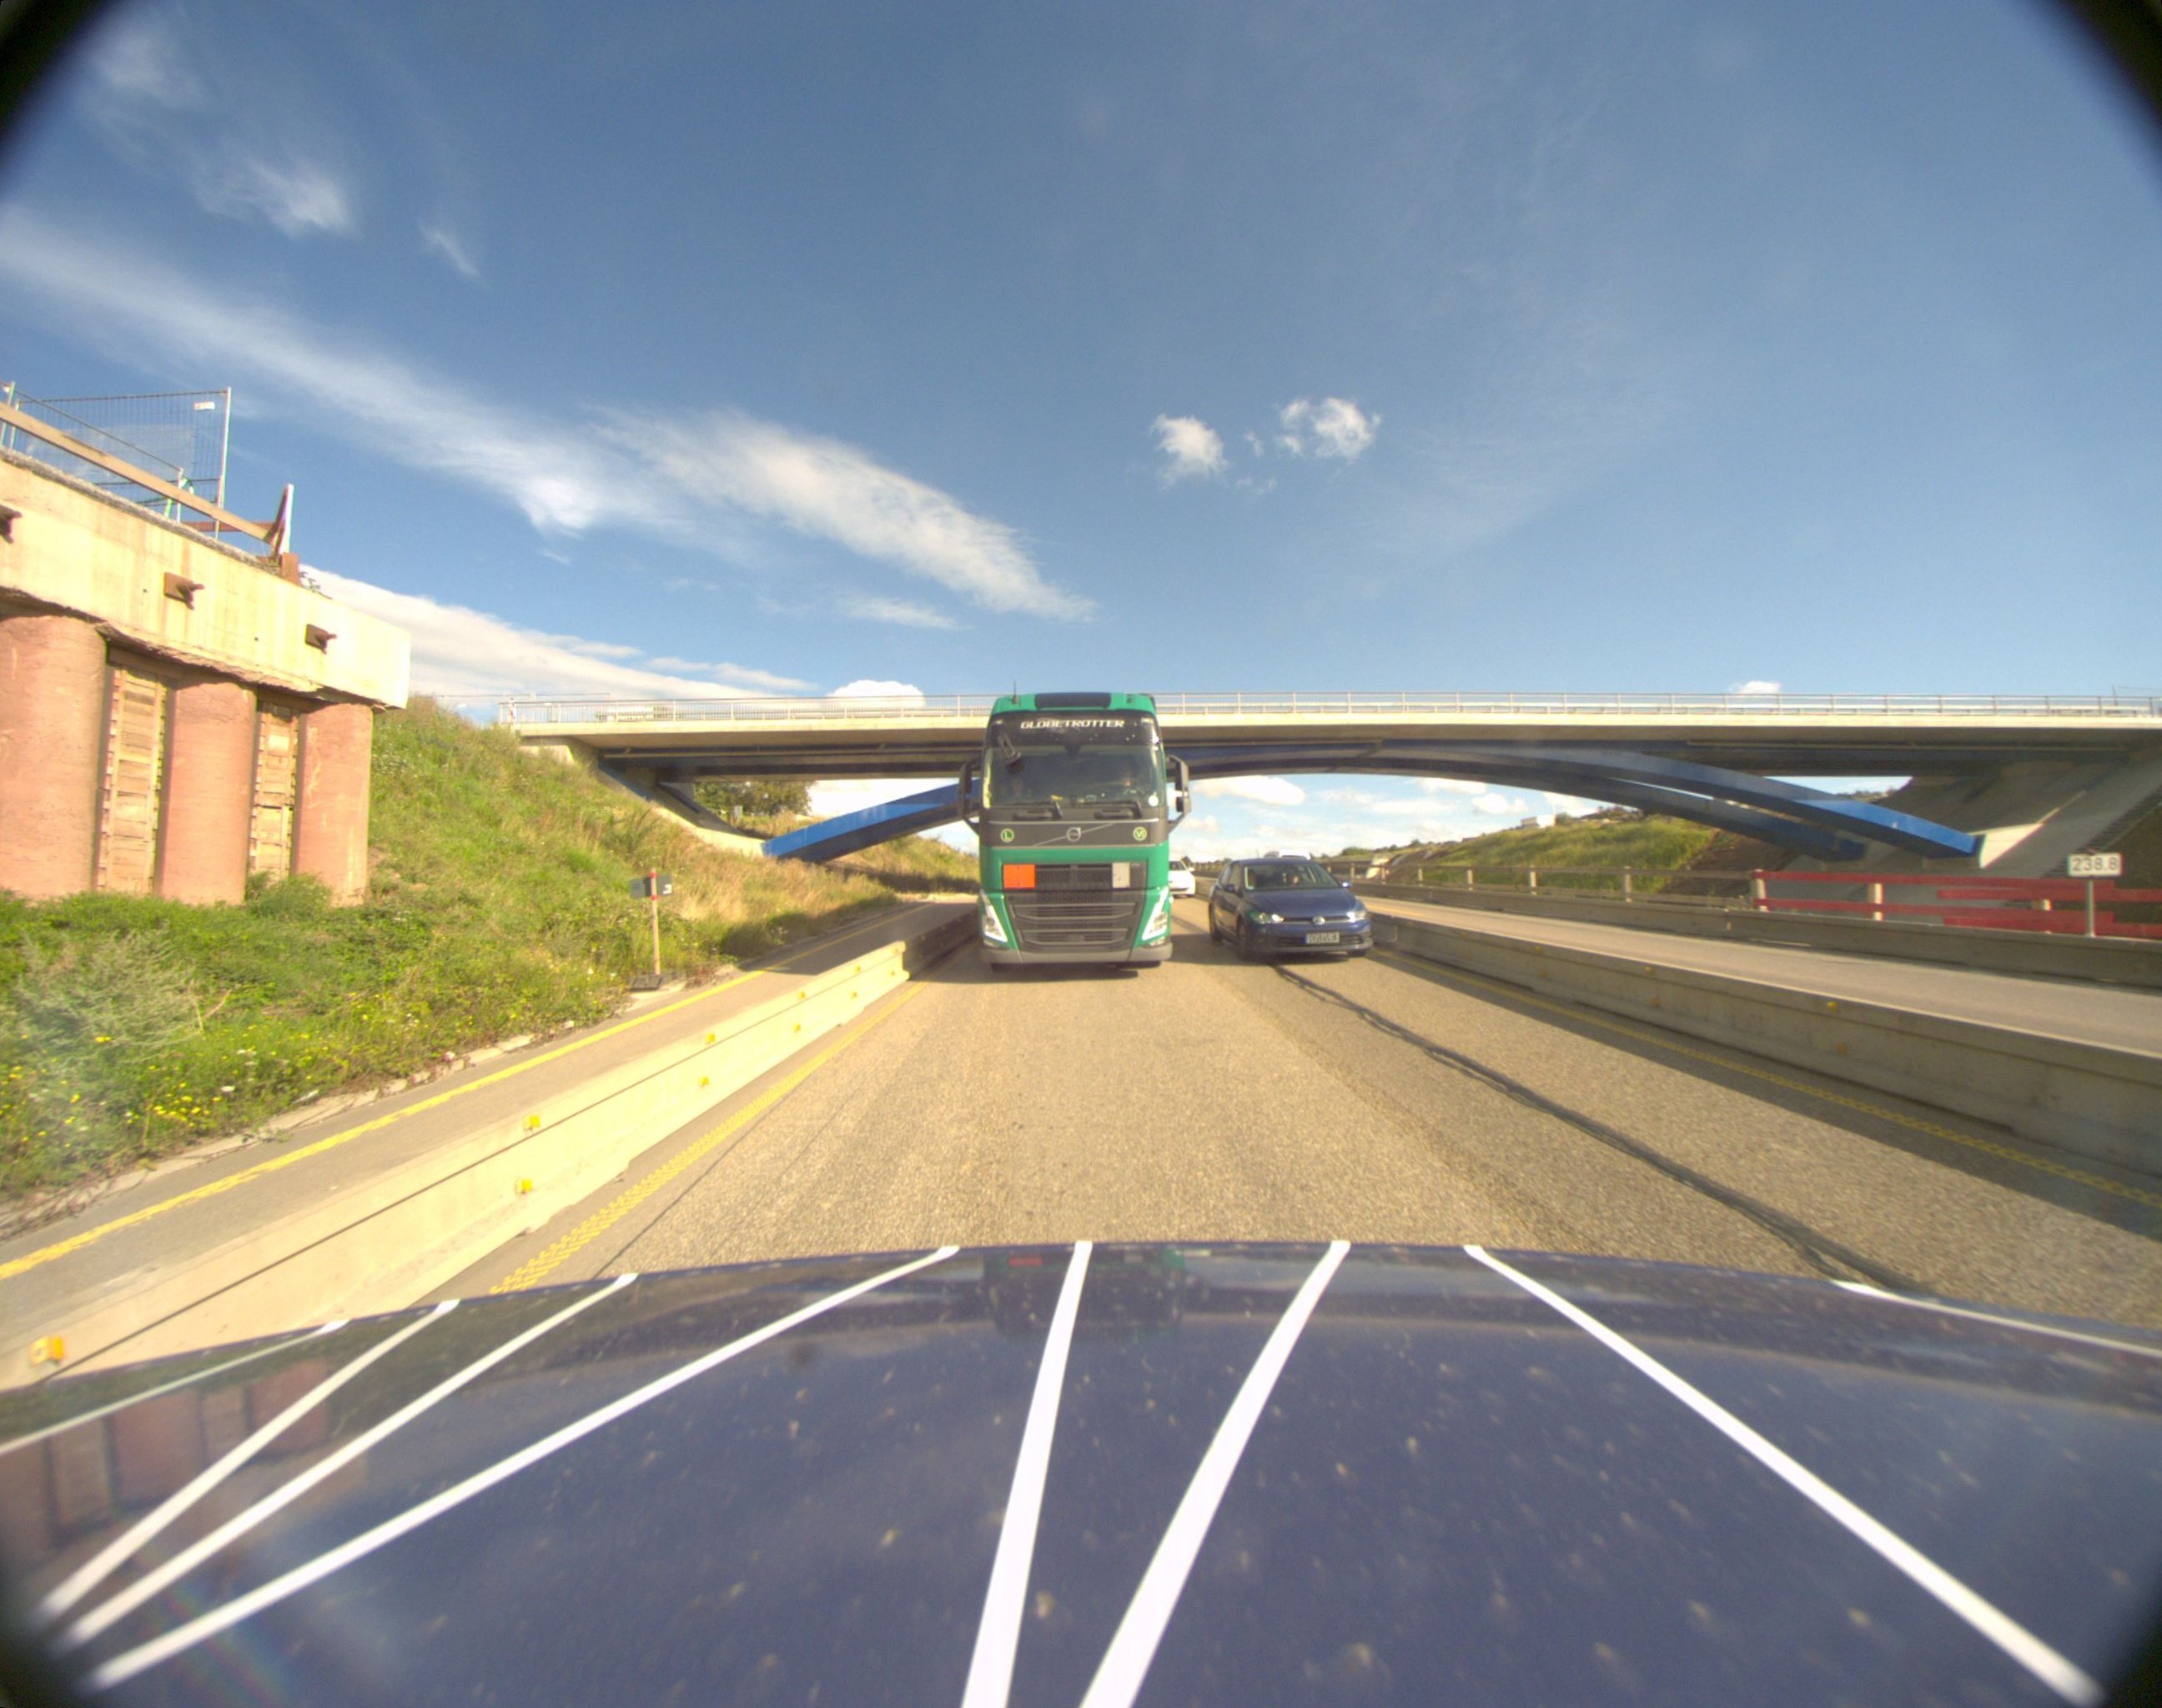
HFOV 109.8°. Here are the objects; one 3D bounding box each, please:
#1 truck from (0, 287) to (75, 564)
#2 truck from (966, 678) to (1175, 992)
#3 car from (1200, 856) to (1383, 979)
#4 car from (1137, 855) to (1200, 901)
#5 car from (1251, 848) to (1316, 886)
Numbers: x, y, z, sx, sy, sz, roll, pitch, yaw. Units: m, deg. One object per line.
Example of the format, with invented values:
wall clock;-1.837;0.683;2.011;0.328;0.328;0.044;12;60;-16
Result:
truck;-18.186;-5.426;8.615;9.288;3.209;2.959;-1;0;-1
truck;-0.091;-0.241;13.721;2.546;3.899;8.279;-1;0;0
car;3.021;0.825;11.777;1.719;1.499;4.000;-2;0;0
car;3.154;0.828;28.149;1.825;1.487;4.374;-2;0;1
car;9.274;0.580;35.127;1.738;1.649;4.217;1;0;-1
